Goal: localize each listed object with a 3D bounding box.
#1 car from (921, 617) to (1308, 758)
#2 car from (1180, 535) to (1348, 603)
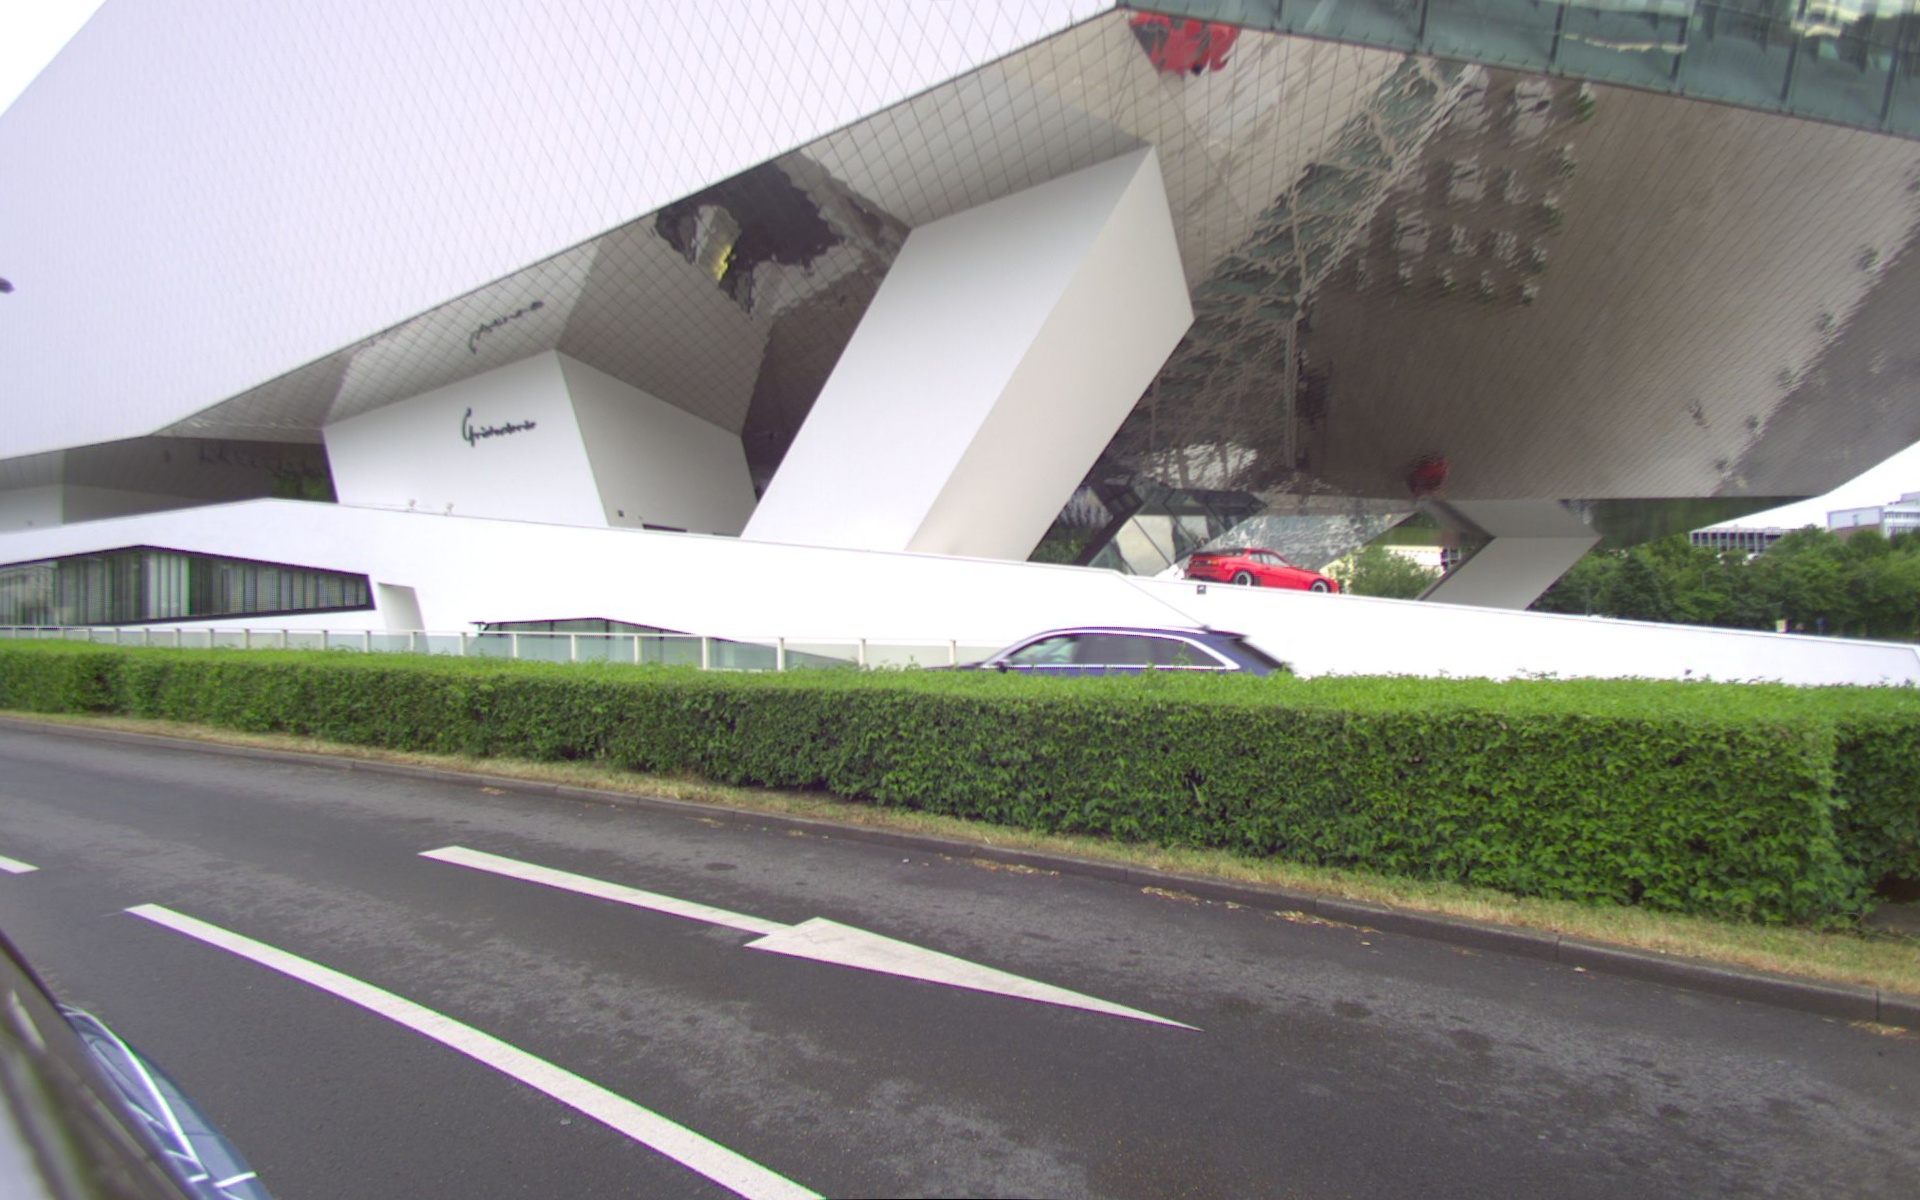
[{"bbox_3d":[1.744,0.888,11.211,3.970,1.348,1.839,-1,-2,20],"label":"car"},{"bbox_3d":[8.257,-0.793,27.535,4.032,1.252,1.643,7,-4,-15],"label":"car"}]
